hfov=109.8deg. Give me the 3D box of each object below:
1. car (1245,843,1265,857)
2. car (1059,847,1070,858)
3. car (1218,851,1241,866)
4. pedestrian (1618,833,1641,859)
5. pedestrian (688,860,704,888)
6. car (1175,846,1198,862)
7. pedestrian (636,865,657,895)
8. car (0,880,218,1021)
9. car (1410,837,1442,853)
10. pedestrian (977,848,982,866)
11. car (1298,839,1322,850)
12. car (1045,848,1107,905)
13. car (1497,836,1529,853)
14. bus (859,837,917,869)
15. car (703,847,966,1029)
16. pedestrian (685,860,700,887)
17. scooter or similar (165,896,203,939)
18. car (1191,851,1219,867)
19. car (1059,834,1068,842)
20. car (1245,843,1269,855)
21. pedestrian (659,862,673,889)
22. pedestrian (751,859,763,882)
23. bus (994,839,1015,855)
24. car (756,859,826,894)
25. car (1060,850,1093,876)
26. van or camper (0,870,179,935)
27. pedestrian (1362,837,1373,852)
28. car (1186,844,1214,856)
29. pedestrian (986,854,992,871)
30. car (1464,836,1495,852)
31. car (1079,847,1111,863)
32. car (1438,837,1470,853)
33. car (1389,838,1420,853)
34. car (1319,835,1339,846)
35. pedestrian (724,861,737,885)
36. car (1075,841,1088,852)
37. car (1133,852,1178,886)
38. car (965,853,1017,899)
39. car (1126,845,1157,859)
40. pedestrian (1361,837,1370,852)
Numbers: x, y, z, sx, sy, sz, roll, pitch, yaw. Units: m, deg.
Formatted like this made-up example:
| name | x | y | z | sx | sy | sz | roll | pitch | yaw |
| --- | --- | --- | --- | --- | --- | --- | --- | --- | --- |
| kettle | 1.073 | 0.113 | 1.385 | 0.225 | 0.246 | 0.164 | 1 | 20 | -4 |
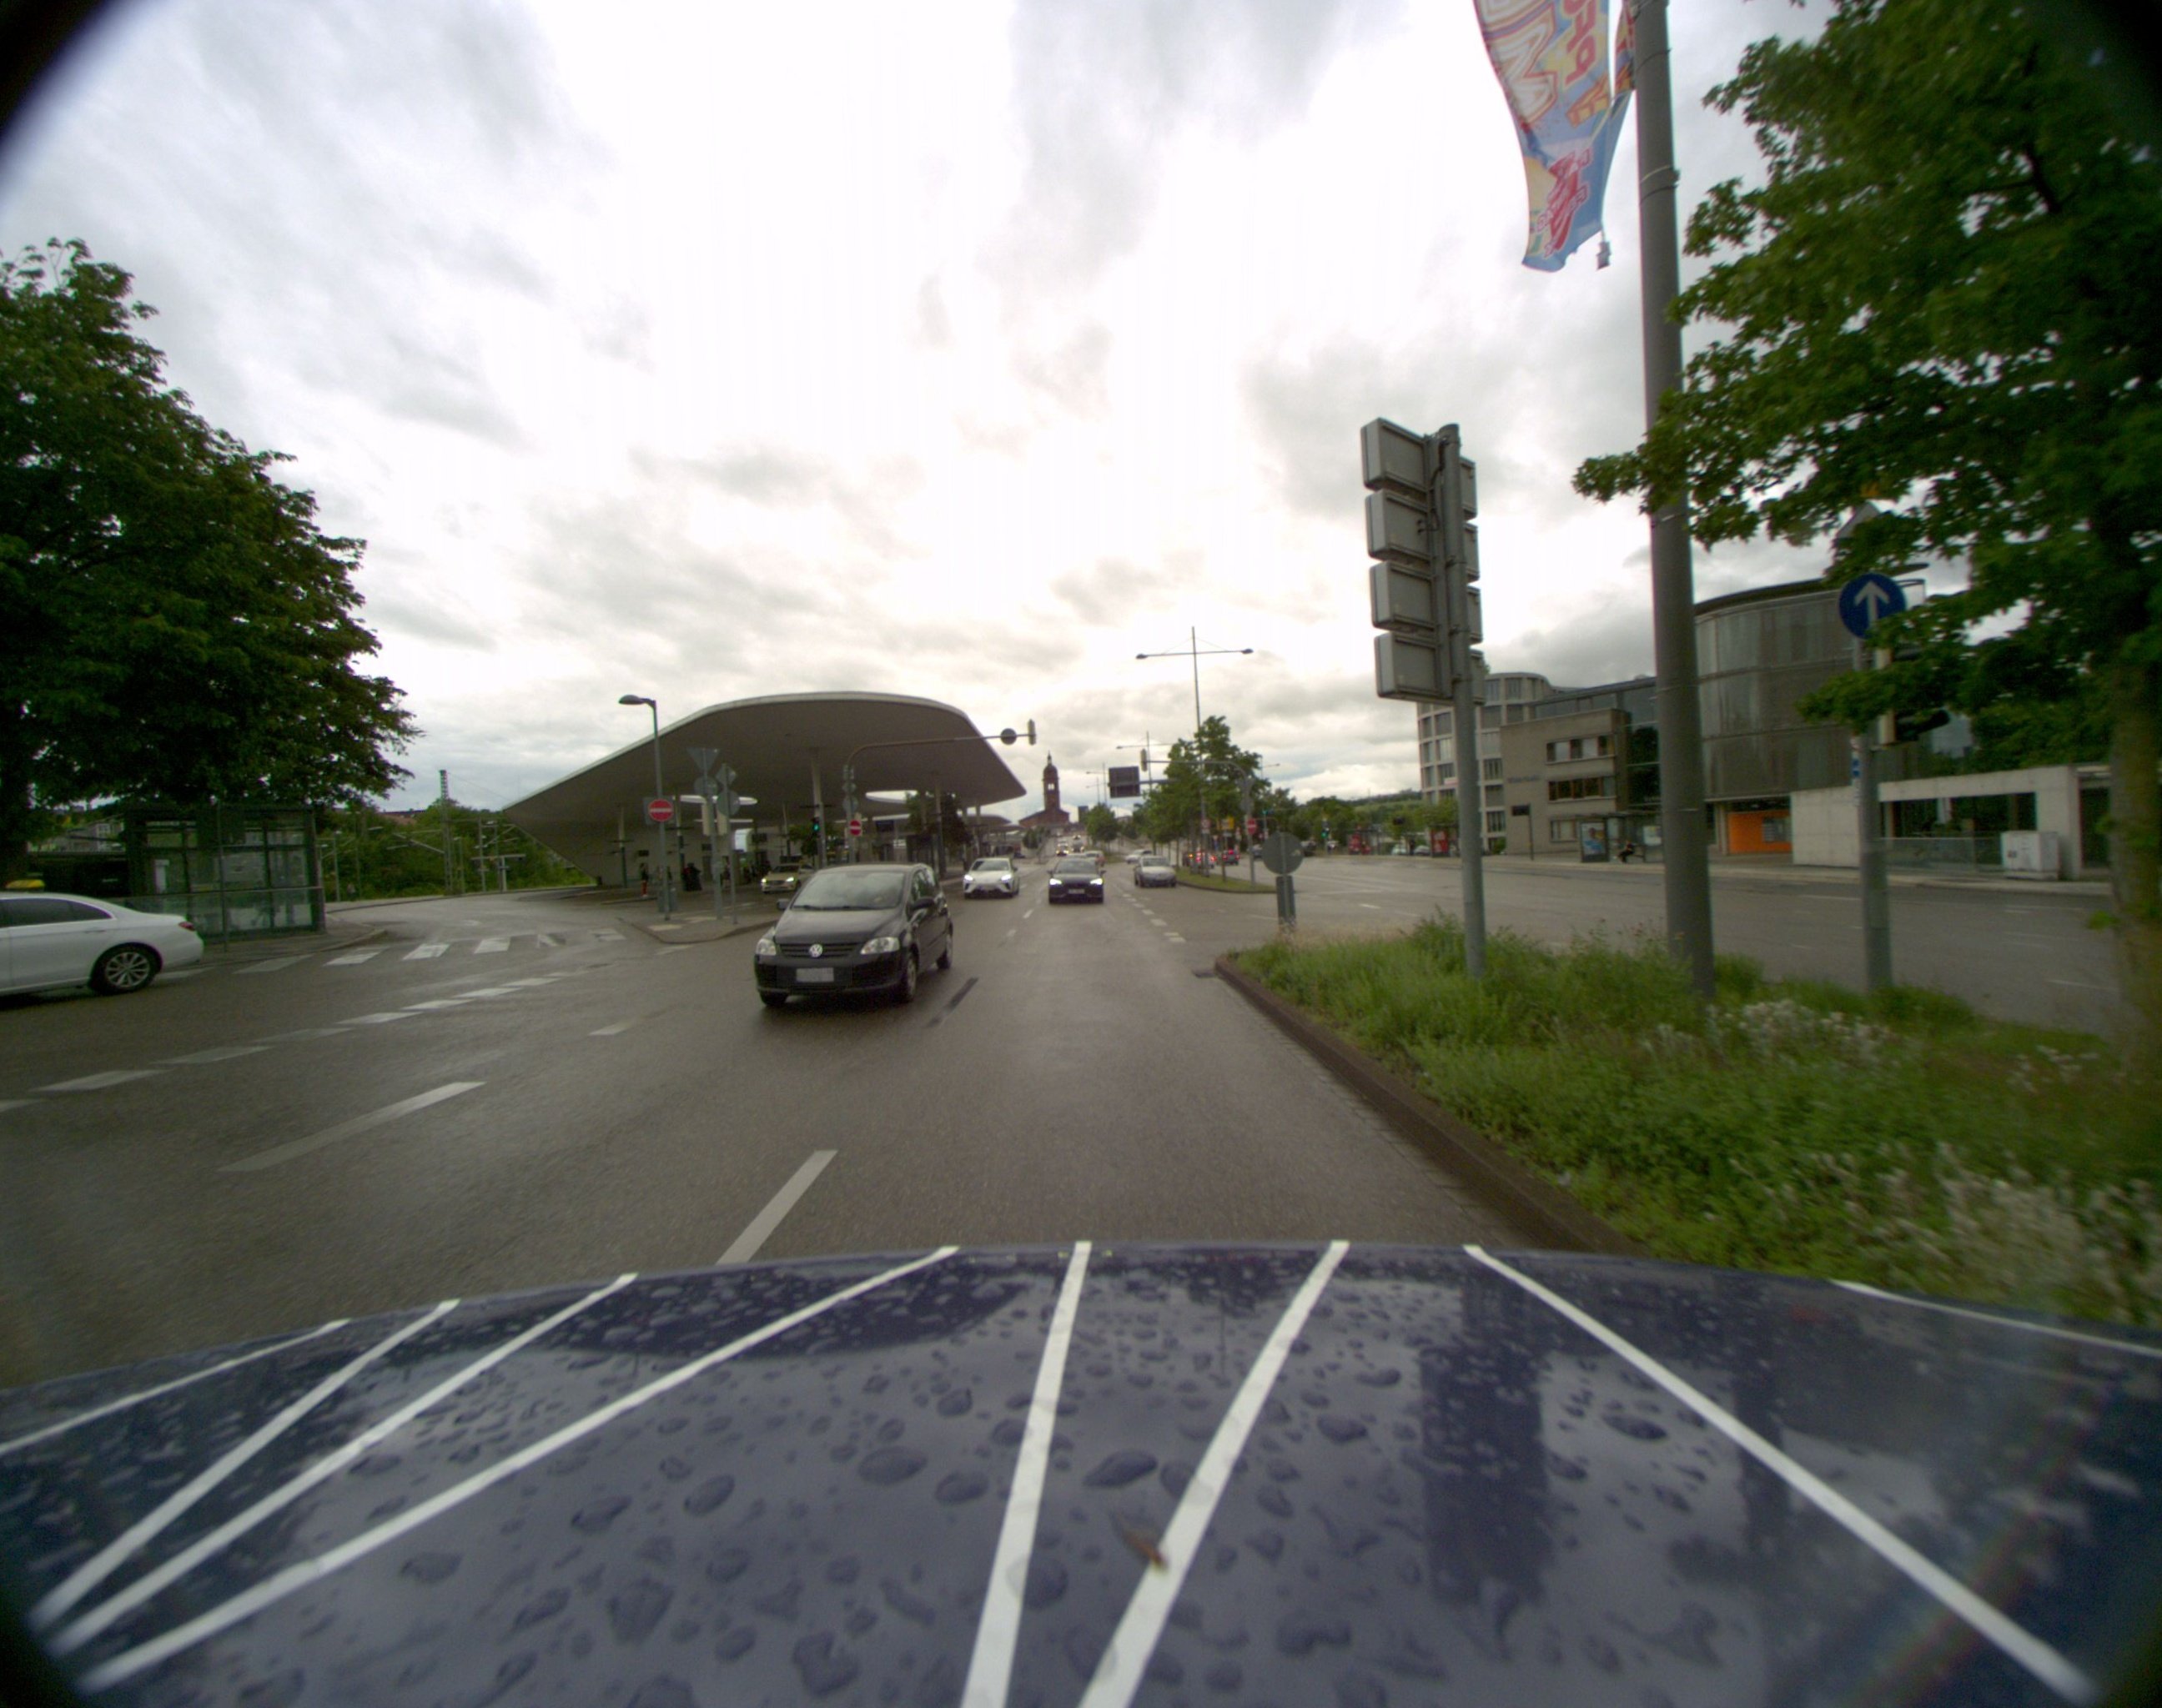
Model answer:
| name | x | y | z | sx | sy | sz | roll | pitch | yaw |
| --- | --- | --- | --- | --- | --- | --- | --- | --- | --- |
| car | 20.486 | -0.494 | 89.741 | 1.681 | 1.503 | 3.864 | -1 | 1 | 4 |
| car | -2.899 | -0.269 | 134.464 | 1.999 | 2.002 | 3.999 | -1 | 1 | -1 |
| car | 15.196 | 0.432 | 77.824 | 1.698 | 1.457 | 4.452 | -1 | 1 | 3 |
| pedestrian | 28.446 | -0.411 | 39.408 | 0.668 | 1.292 | 0.720 | -1 | 1 | 5 |
| pedestrian | -21.525 | 1.106 | 42.499 | 0.534 | 1.505 | 0.479 | -2 | 1 | 5 |
| car | 10.722 | -0.022 | 77.414 | 2.009 | 1.545 | 4.165 | -1 | 1 | 3 |
| pedestrian | -23.785 | 1.403 | 41.622 | 0.641 | 1.586 | 0.741 | -1 | 2 | 15 |
| car | -14.075 | 1.245 | 9.059 | 1.884 | 1.590 | 4.902 | -1 | 1 | 1 |
| car | 39.463 | -1.029 | 86.848 | 4.165 | 1.692 | 1.871 | -2 | 2 | -45 |
| pedestrian | -10.217 | 0.265 | 76.259 | 0.445 | 1.754 | 0.537 | -2 | 1 | -6 |
| car | 36.056 | -1.506 | 119.480 | 1.889 | 1.704 | 4.226 | 0 | 2 | 42 |
| car | -0.236 | 0.682 | 25.722 | 1.876 | 1.692 | 4.155 | -1 | 1 | -2 |
| car | 45.773 | -1.027 | 80.497 | 4.165 | 1.692 | 1.871 | -2 | 2 | -45 |
| bus | -19.912 | -0.191 | 79.447 | 2.876 | 3.064 | 11.919 | -1 | 1 | 0 |
| car | -2.690 | 0.797 | 9.427 | 1.875 | 1.692 | 4.156 | -1 | 1 | 0 |
| pedestrian | -22.096 | 1.109 | 43.258 | 0.534 | 1.505 | 0.479 | -2 | 1 | 5 |
| scooter or similar | -26.889 | 1.895 | 22.786 | 0.334 | 1.175 | 1.301 | -2 | 2 | -33 |
| car | 11.433 | 0.459 | 70.280 | 2.010 | 1.345 | 4.164 | -1 | 1 | 1 |
| car | -3.705 | -3.320 | 157.413 | 1.649 | 1.552 | 3.647 | -1 | 1 | -5 |
| car | 26.818 | -0.810 | 115.684 | 1.889 | 1.704 | 4.226 | 0 | 1 | 41 |
| pedestrian | -23.983 | 1.226 | 43.872 | 0.533 | 1.505 | 0.480 | -1 | 1 | 35 |
| pedestrian | -21.969 | 1.122 | 51.570 | 0.478 | 1.505 | 0.535 | -2 | 1 | 4 |
| bus | -15.187 | -1.355 | 150.851 | 3.585 | 3.080 | 10.745 | -2 | 1 | -8 |
| car | -15.575 | 1.161 | 41.088 | 1.998 | 1.671 | 4.541 | -1 | 1 | 0 |
| car | -0.355 | 0.580 | 51.856 | 1.876 | 1.625 | 4.298 | -1 | 1 | -5 |
| van or camper | -45.073 | 2.076 | 34.137 | 1.998 | 2.419 | 5.863 | -1 | 1 | 0 |
| pedestrian | 29.536 | -0.966 | 78.309 | 0.983 | 1.481 | 0.735 | -1 | 1 | 10 |
| car | 16.485 | -0.541 | 105.184 | 1.872 | 1.624 | 4.166 | -1 | 1 | 40 |
| pedestrian | -9.209 | 0.848 | 76.289 | 0.446 | 1.754 | 0.536 | -2 | 1 | -20 |
| car | 43.630 | -1.078 | 83.117 | 4.165 | 1.692 | 1.871 | -2 | 2 | -45 |
| car | 1.540 | 0.071 | 83.019 | 1.872 | 1.625 | 4.164 | 0 | 1 | 26 |
| car | 41.628 | -1.043 | 84.696 | 4.165 | 1.692 | 1.872 | -2 | 1 | -45 |
| car | 37.763 | -1.031 | 88.692 | 4.165 | 1.692 | 1.871 | -2 | 2 | -45 |
| car | 43.862 | -2.452 | 134.320 | 1.994 | 1.871 | 4.008 | 0 | 1 | 39 |
| pedestrian | -21.949 | 1.187 | 47.626 | 0.478 | 1.505 | 0.535 | -2 | 1 | 4 |
| car | 0.006 | -1.318 | 137.458 | 1.999 | 2.002 | 3.997 | -1 | 1 | -5 |
| car | 3.501 | 0.680 | 36.329 | 1.699 | 1.457 | 3.719 | -1 | 1 | -1 |
| car | -3.443 | 0.799 | 29.258 | 1.812 | 1.550 | 4.046 | -1 | 1 | -6 |
| car | 7.586 | -0.243 | 95.428 | 1.871 | 1.625 | 4.293 | 0 | 1 | 35 |
| pedestrian | 29.664 | -0.984 | 79.272 | 0.732 | 1.481 | 0.734 | -1 | 1 | 8 |
